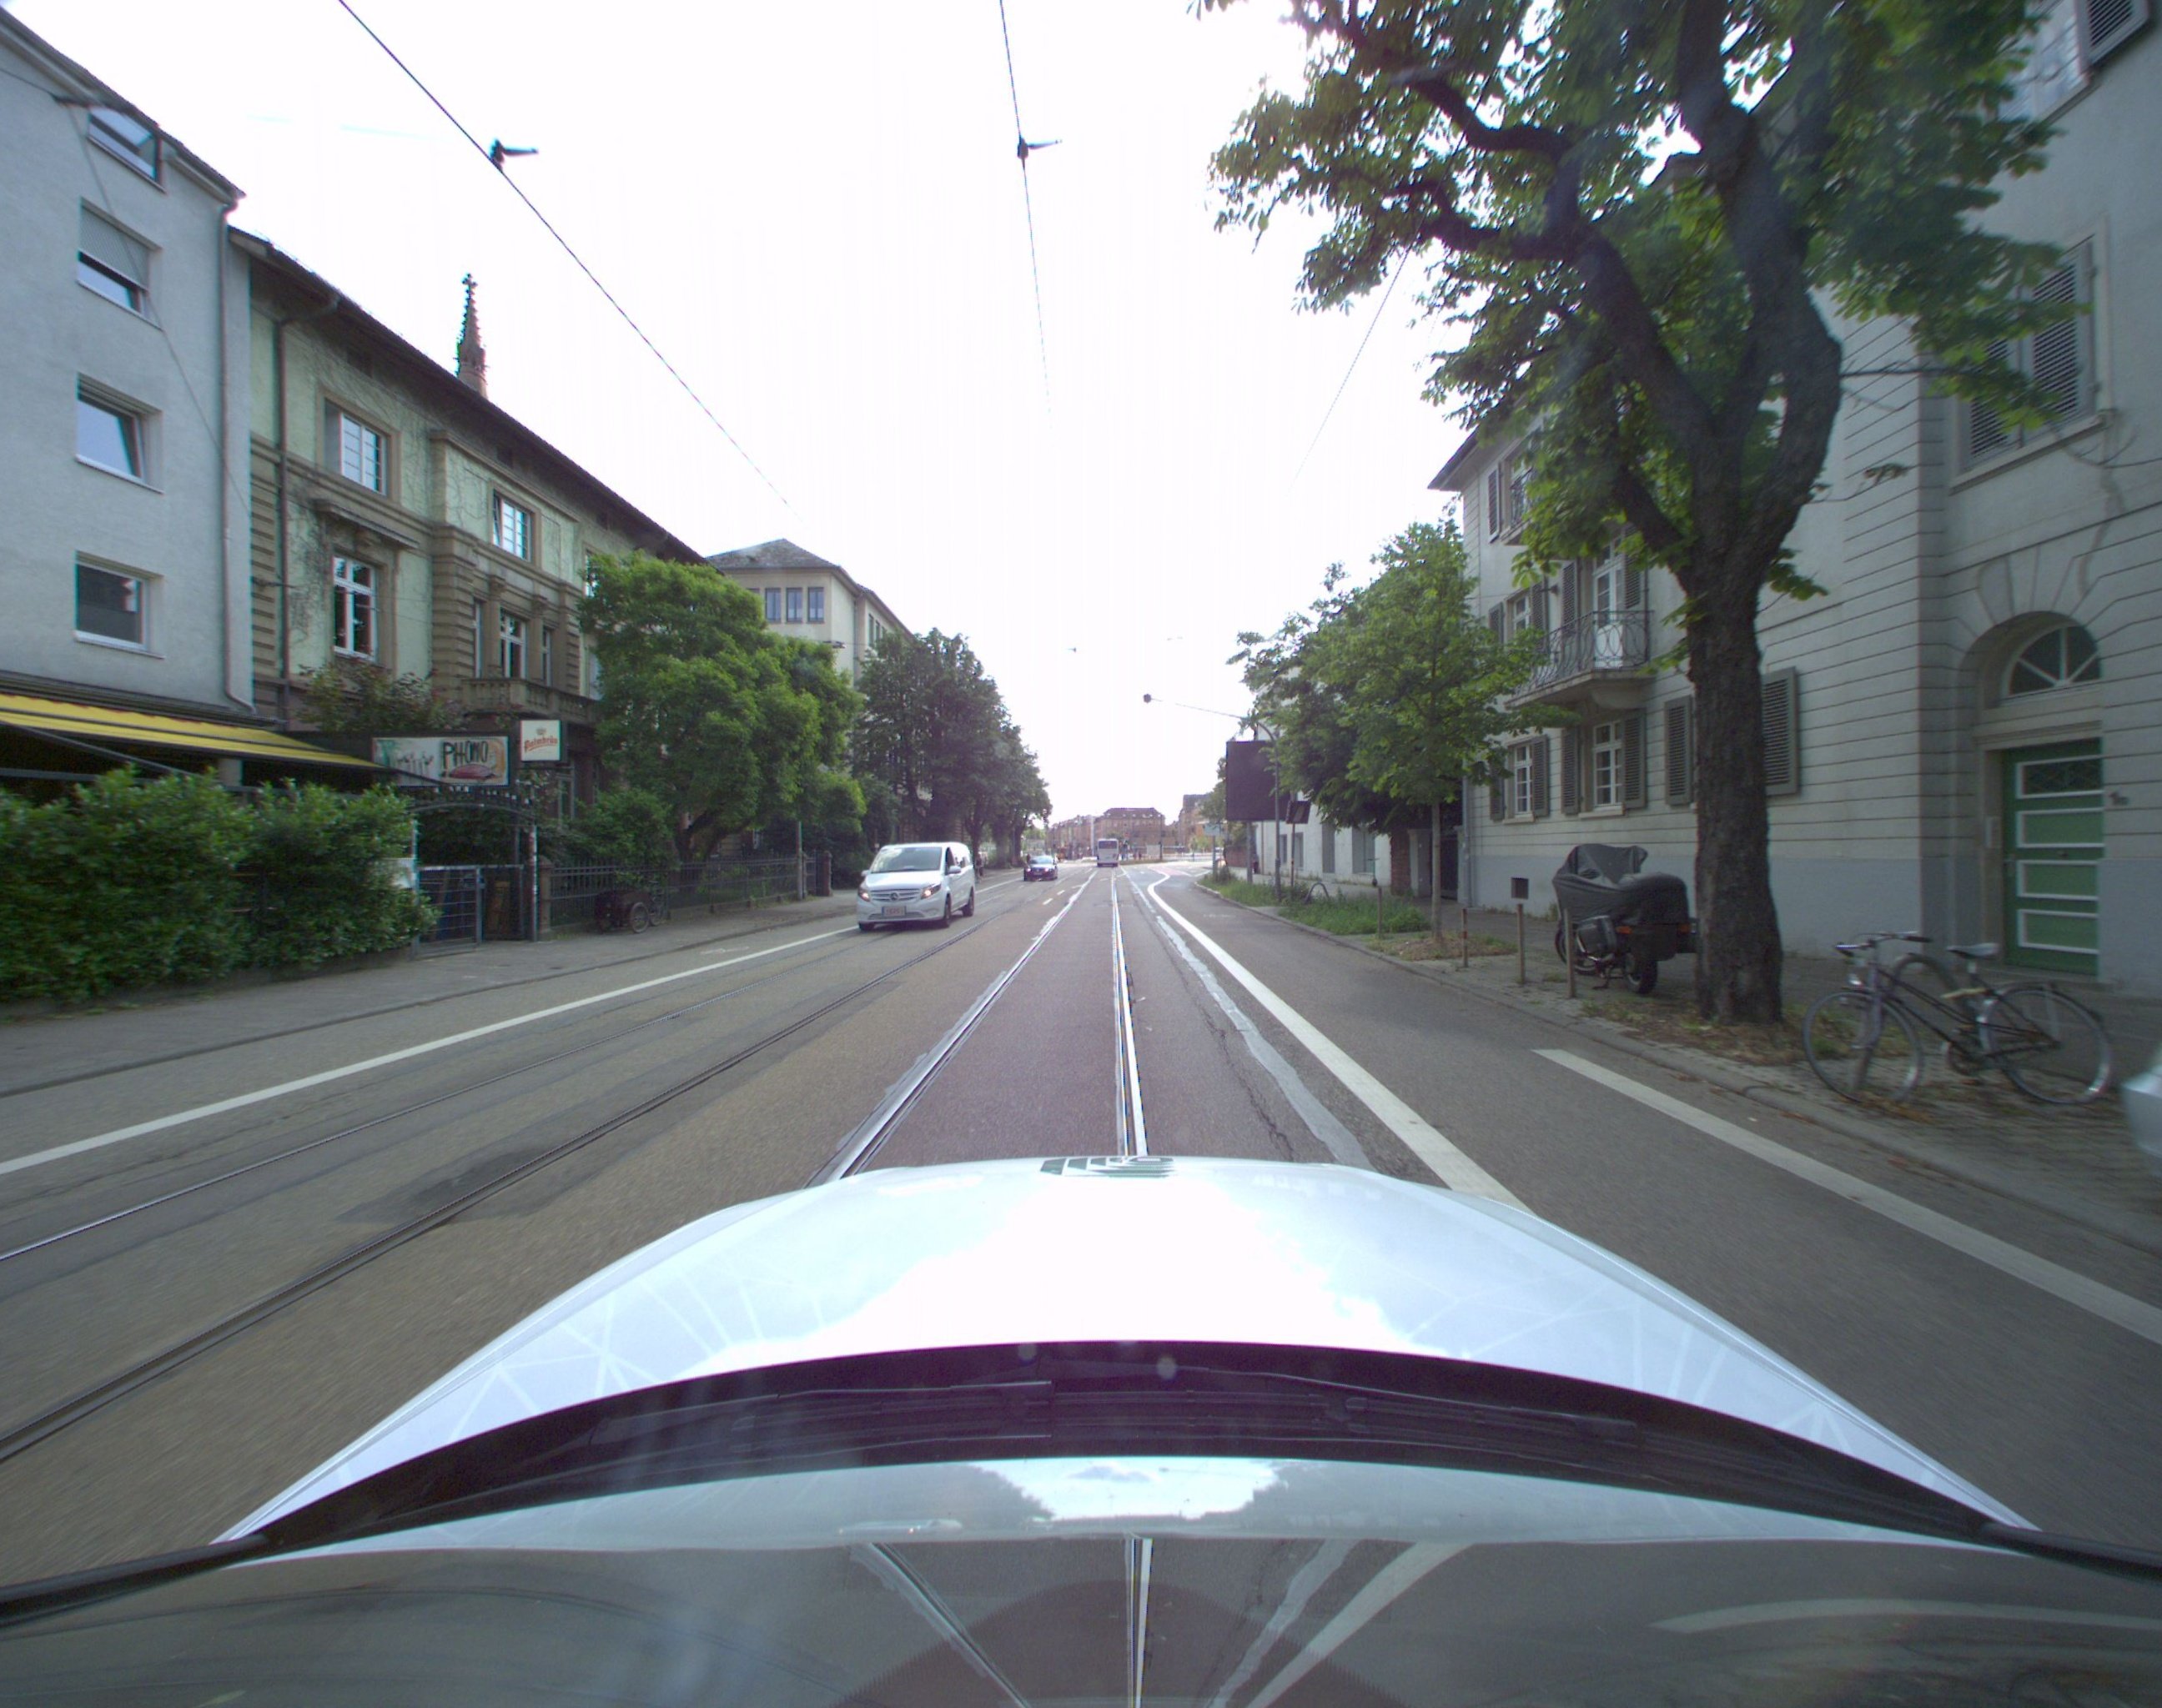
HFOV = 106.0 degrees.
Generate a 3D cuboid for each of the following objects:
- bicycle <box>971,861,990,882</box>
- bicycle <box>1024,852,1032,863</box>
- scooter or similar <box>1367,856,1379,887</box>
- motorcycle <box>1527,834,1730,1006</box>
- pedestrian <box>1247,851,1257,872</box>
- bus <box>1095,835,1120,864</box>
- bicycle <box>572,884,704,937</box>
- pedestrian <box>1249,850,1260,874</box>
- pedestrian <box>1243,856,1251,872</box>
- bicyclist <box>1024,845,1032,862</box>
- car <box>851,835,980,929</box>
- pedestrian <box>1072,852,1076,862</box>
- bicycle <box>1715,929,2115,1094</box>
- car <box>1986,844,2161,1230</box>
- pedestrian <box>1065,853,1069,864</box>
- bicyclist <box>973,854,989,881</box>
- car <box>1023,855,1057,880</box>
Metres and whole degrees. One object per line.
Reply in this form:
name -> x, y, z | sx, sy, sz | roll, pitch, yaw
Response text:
bicycle -> -5.818, 1.002, 47.264 | 0.600, 1.097, 2.025 | -6, 0, 5
bicycle -> -4.919, 0.300, 75.771 | 0.697, 1.017, 1.818 | -2, 0, -1
scooter or similar -> 11.448, 0.684, 31.914 | 0.320, 1.181, 1.152 | 0, 0, 15
motorcycle -> 5.621, 0.587, 8.600 | 0.973, 1.542, 2.449 | 0, 0, 13
pedestrian -> 13.143, 0.572, 62.607 | 0.519, 1.580, 0.547 | -2, 1, -8
bus -> 3.230, -0.438, 100.377 | 2.907, 3.328, 12.209 | 1, 0, 1
bicycle -> -9.637, 1.196, 17.924 | 1.138, 0.909, 2.990 | 3, 0, 2
pedestrian -> 13.007, 0.599, 61.093 | 0.682, 1.724, 0.747 | -2, 1, 3
pedestrian -> 12.617, 0.745, 61.953 | 0.424, 1.200, 0.402 | -3, 1, -31
bicyclist -> -4.933, -0.042, 75.737 | 0.689, 1.519, 0.867 | -2, 0, -1
car -> -3.732, 0.573, 19.387 | 1.891, 1.907, 5.384 | -1, 0, 1
pedestrian -> -1.266, 0.558, 145.640 | 0.608, 1.885, 0.794 | -1, 0, 2
bicycle -> 5.222, 0.966, 5.198 | 1.768, 0.903, 0.692 | -1, 0, 4
car -> 4.996, 0.711, 1.383 | 1.700, 1.498, 4.791 | -1, 0, 2
pedestrian -> -2.554, 0.847, 150.174 | 0.608, 1.885, 0.794 | -1, 0, 3
bicyclist -> -5.828, 0.760, 47.376 | 0.596, 1.492, 0.883 | -6, 0, 5
car -> -2.407, 0.771, 48.399 | 1.682, 1.402, 3.932 | -1, 0, 2
